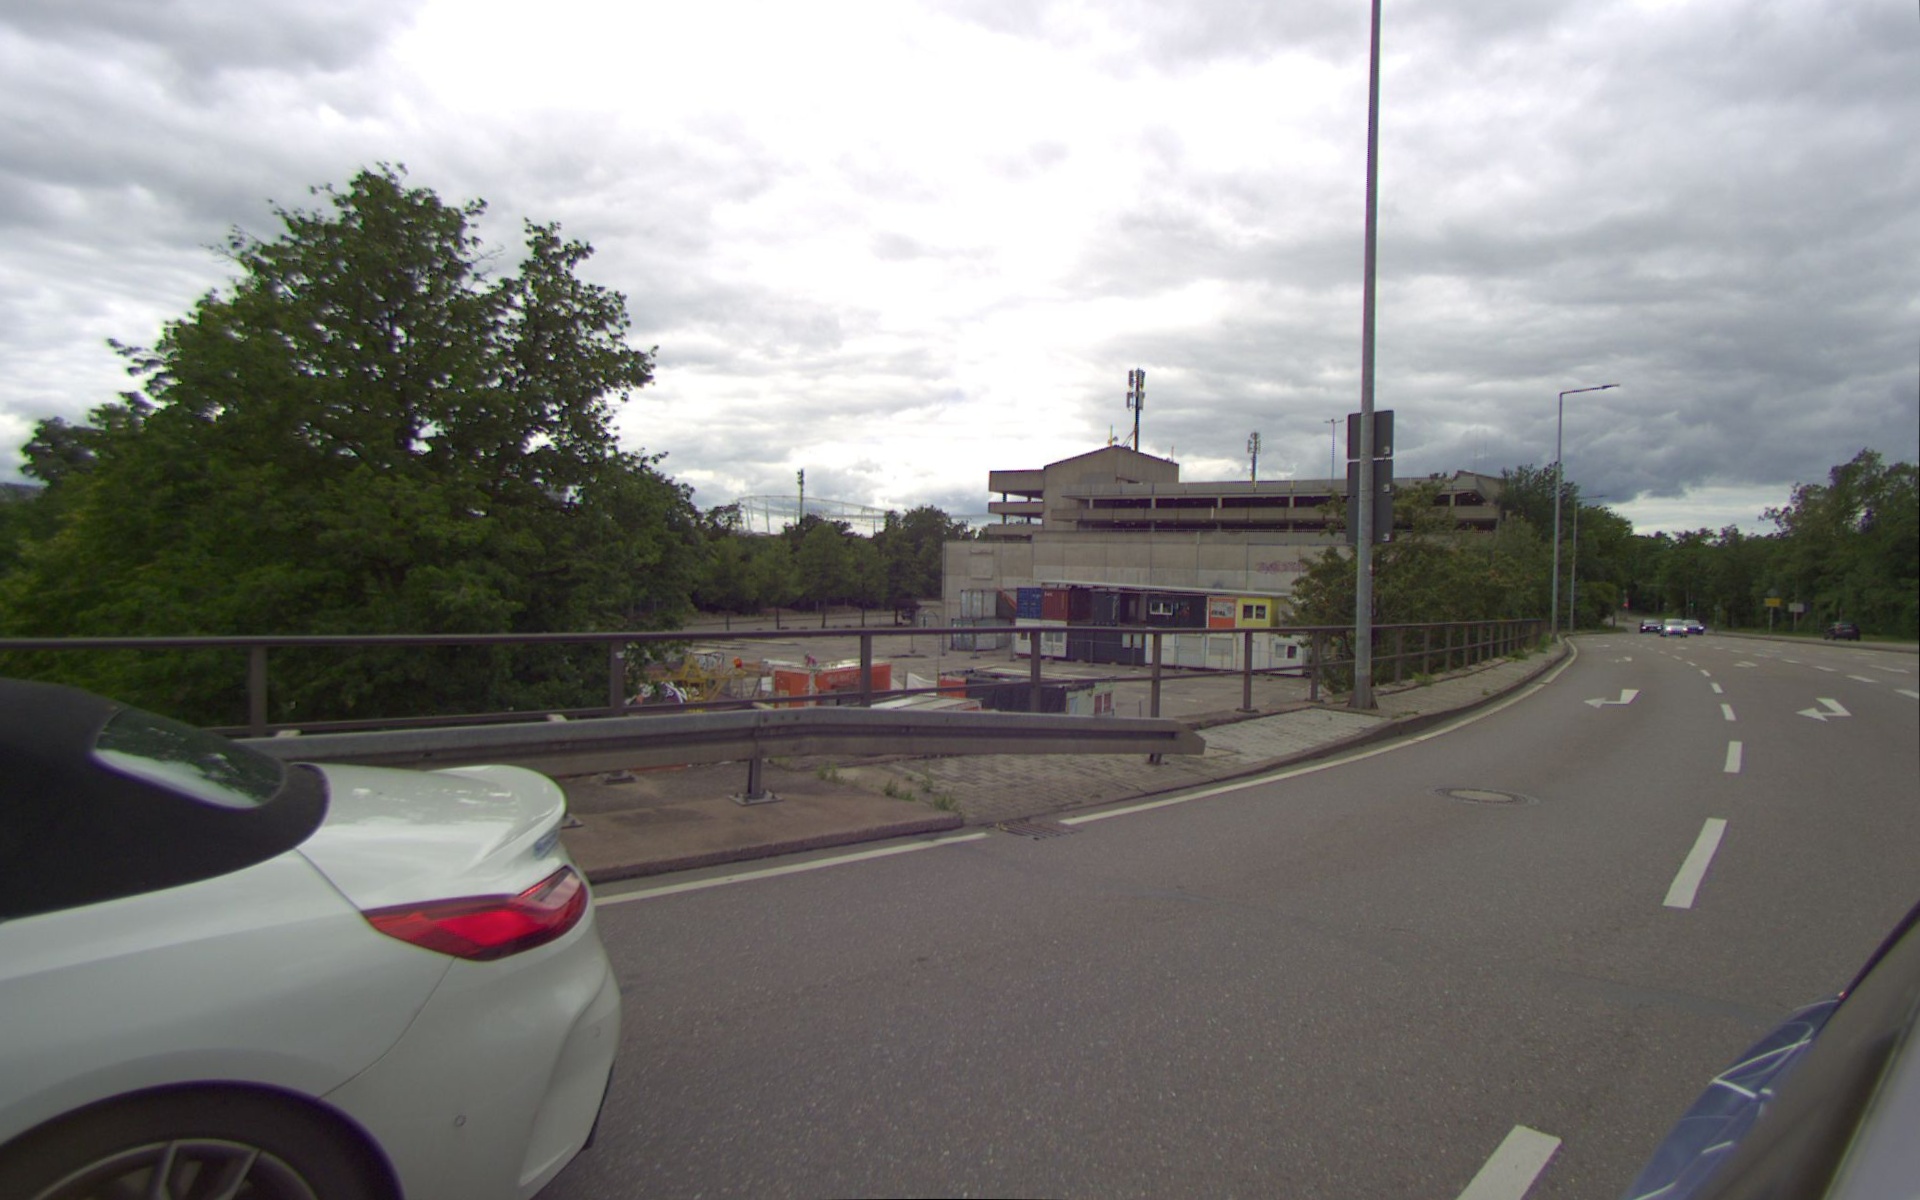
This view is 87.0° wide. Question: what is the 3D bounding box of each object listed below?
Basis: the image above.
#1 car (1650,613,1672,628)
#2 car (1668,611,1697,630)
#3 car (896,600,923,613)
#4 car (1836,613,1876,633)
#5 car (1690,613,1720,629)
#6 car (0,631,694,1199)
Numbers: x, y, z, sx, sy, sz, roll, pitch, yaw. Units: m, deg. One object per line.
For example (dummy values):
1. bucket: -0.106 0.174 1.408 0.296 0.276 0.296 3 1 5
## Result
1. car: 73.213 2.149 105.651 1.854 1.434 4.283 1 0 35
2. car: 58.075 1.628 81.377 1.597 1.434 3.551 1 0 31
3. car: -7.367 0.903 148.455 1.984 1.839 3.956 -3 -2 31
4. car: 70.251 1.799 79.425 1.691 1.483 3.954 -1 0 32
5. car: 72.708 2.040 98.773 1.828 1.434 4.531 1 0 30
6. car: -2.777 0.759 1.641 4.182 1.308 1.811 0 0 -35
